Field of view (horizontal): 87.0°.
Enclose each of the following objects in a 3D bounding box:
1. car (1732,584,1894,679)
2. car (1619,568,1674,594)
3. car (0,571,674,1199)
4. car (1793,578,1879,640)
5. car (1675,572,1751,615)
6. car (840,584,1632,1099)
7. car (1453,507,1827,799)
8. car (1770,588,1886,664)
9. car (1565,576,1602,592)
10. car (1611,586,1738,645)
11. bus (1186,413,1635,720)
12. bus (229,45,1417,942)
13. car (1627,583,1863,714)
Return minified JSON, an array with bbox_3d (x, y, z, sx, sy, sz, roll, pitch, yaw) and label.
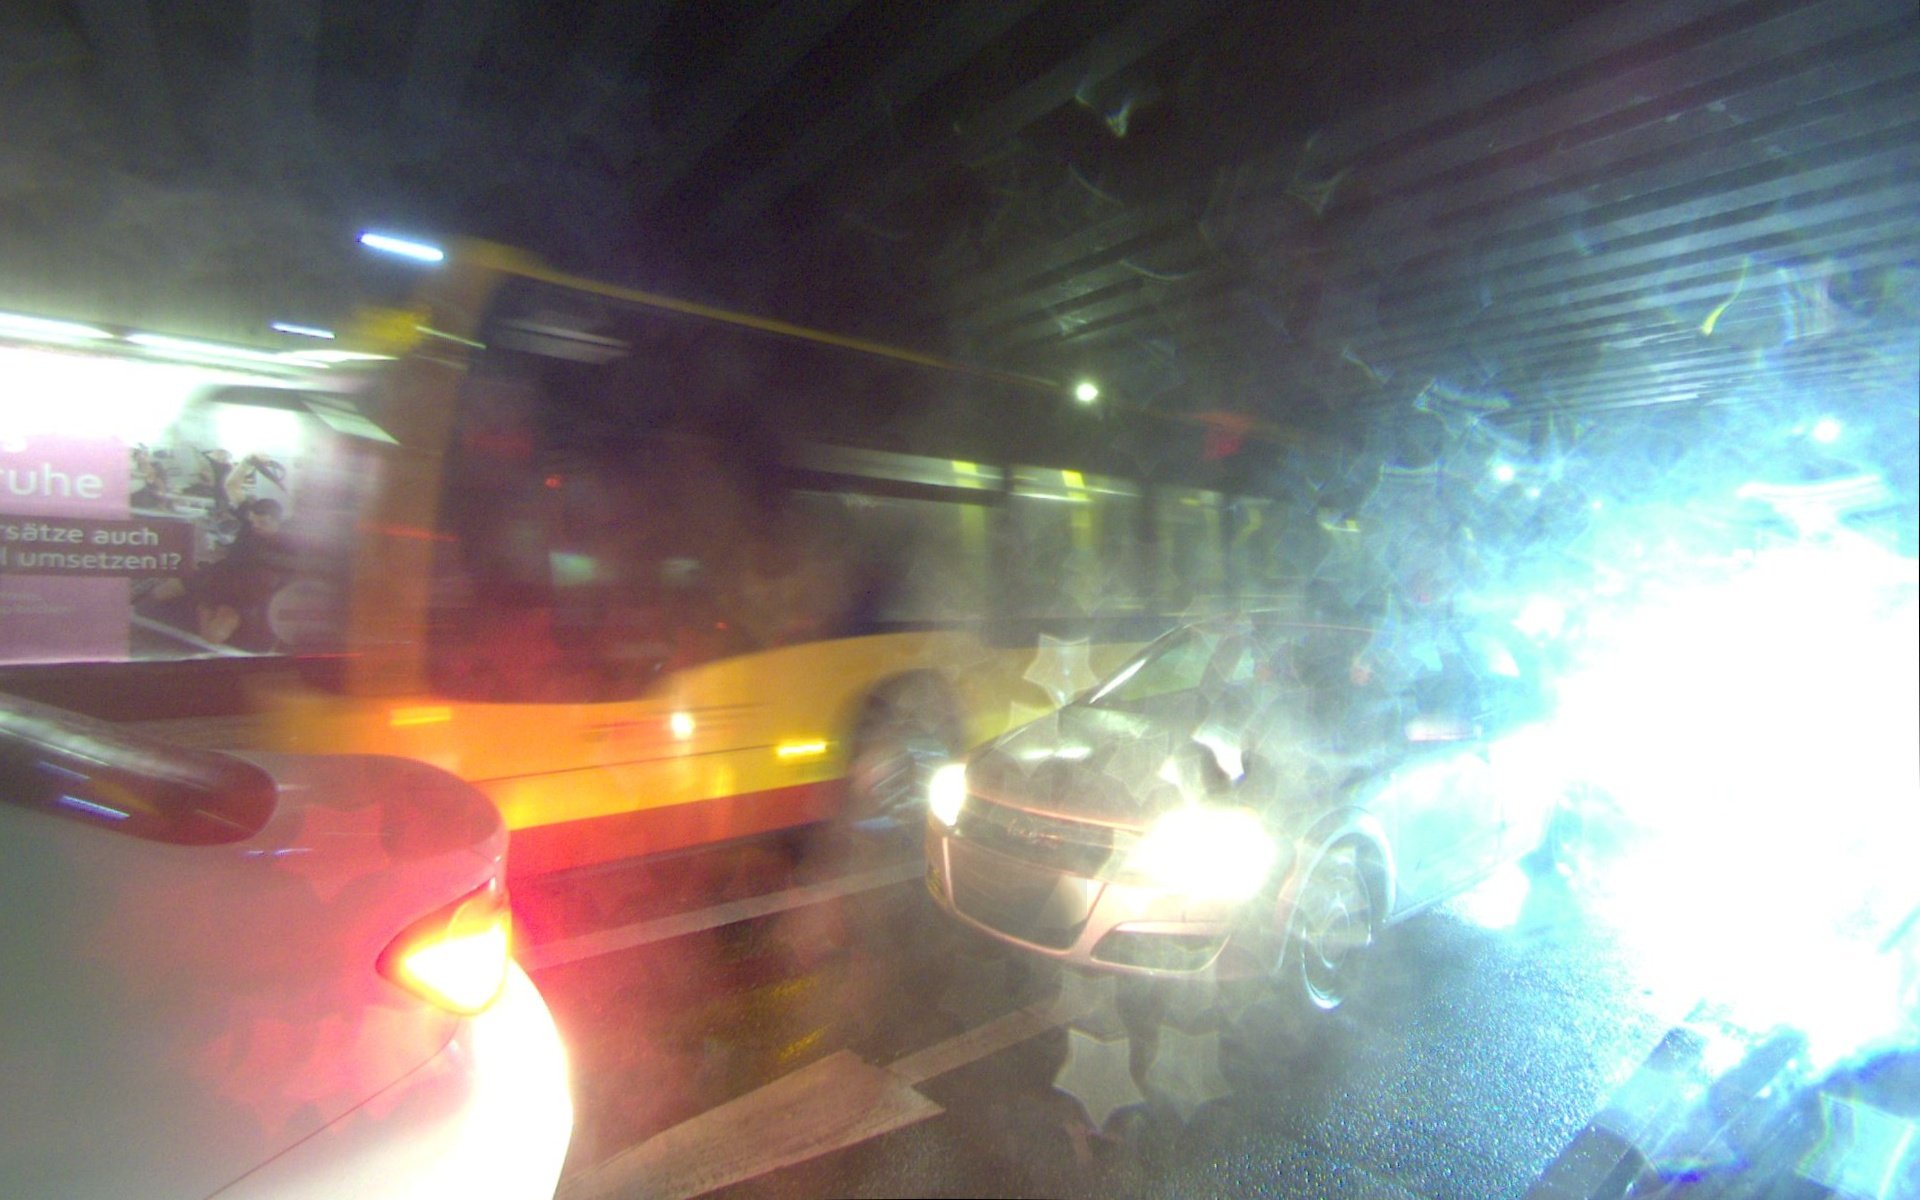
[{"bbox_3d":[15.368,0.479,18.174,3.930,1.522,1.628,-1,0,-41],"label":"car"},{"bbox_3d":[41.410,-1.157,61.118,1.832,1.449,4.470,0,2,22],"label":"car"},{"bbox_3d":[-2.662,0.687,1.010,4.273,1.422,1.719,-1,0,-41],"label":"car"},{"bbox_3d":[24.607,0.211,28.392,1.737,1.610,3.939,0,0,42],"label":"car"},{"bbox_3d":[28.639,-0.230,38.446,1.847,1.503,4.558,2,1,42],"label":"car"},{"bbox_3d":[1.566,0.657,4.847,3.931,1.384,1.791,-2,2,-41],"label":"car"},{"bbox_3d":[6.527,0.359,9.518,4.274,2.115,1.996,-1,0,-43],"label":"car"},{"bbox_3d":[18.771,0.494,21.836,1.679,1.490,3.937,0,0,44],"label":"car"},{"bbox_3d":[60.665,-1.566,98.556,1.827,1.503,4.464,1,1,15],"label":"car"},{"bbox_3d":[19.571,0.365,27.648,4.548,1.497,1.840,-1,0,-41],"label":"car"},{"bbox_3d":[7.138,-0.347,14.827,9.603,3.163,2.770,0,0,-45],"label":"bus"},{"bbox_3d":[0.352,-0.381,7.972,2.770,3.163,9.604,0,0,45],"label":"bus"},{"bbox_3d":[10.792,0.548,13.840,3.701,1.531,1.867,-1,0,-41],"label":"car"}]
